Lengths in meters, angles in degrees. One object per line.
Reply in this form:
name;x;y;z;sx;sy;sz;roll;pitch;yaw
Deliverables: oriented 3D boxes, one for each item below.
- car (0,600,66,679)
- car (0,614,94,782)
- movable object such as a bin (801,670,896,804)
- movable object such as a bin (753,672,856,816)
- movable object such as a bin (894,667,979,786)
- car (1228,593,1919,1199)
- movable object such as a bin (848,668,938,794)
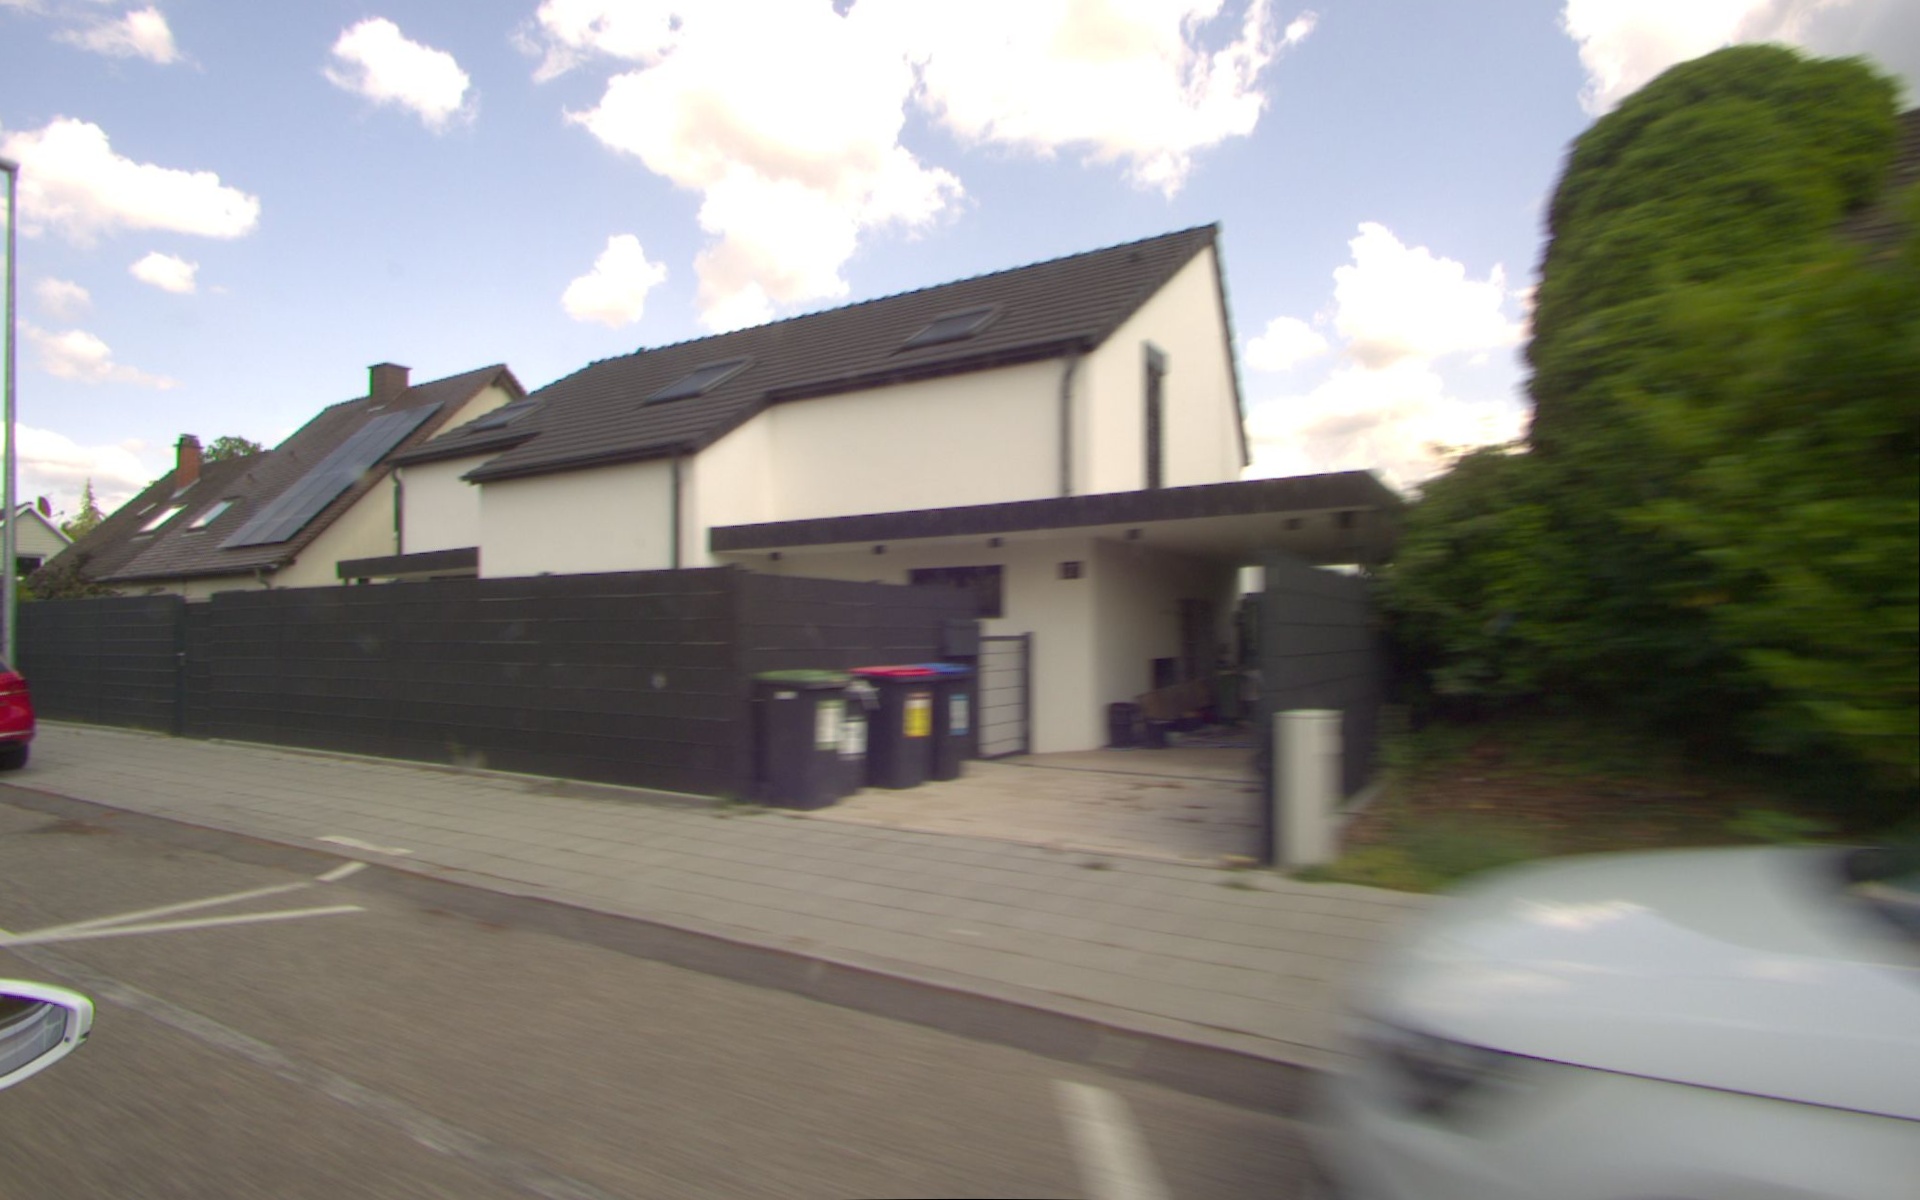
car;-26.752;1.017;25.922;5.308;2.083;1.981;2;-3;-45
car;-11.235;0.970;10.576;4.664;1.599;1.847;-1;-2;32
movable object such as a bin;-0.937;1.128;8.430;0.621;1.052;0.515;-1;-1;32
movable object such as a bin;-1.221;1.105;7.897;0.621;1.052;0.515;-1;-1;32
movable object such as a bin;-0.220;1.173;9.458;0.621;1.052;0.515;-1;-1;32
car;2.499;0.751;1.526;3.699;1.505;1.717;-1;-2;35
movable object such as a bin;-0.595;1.148;8.963;0.621;1.052;0.515;-1;-1;32
